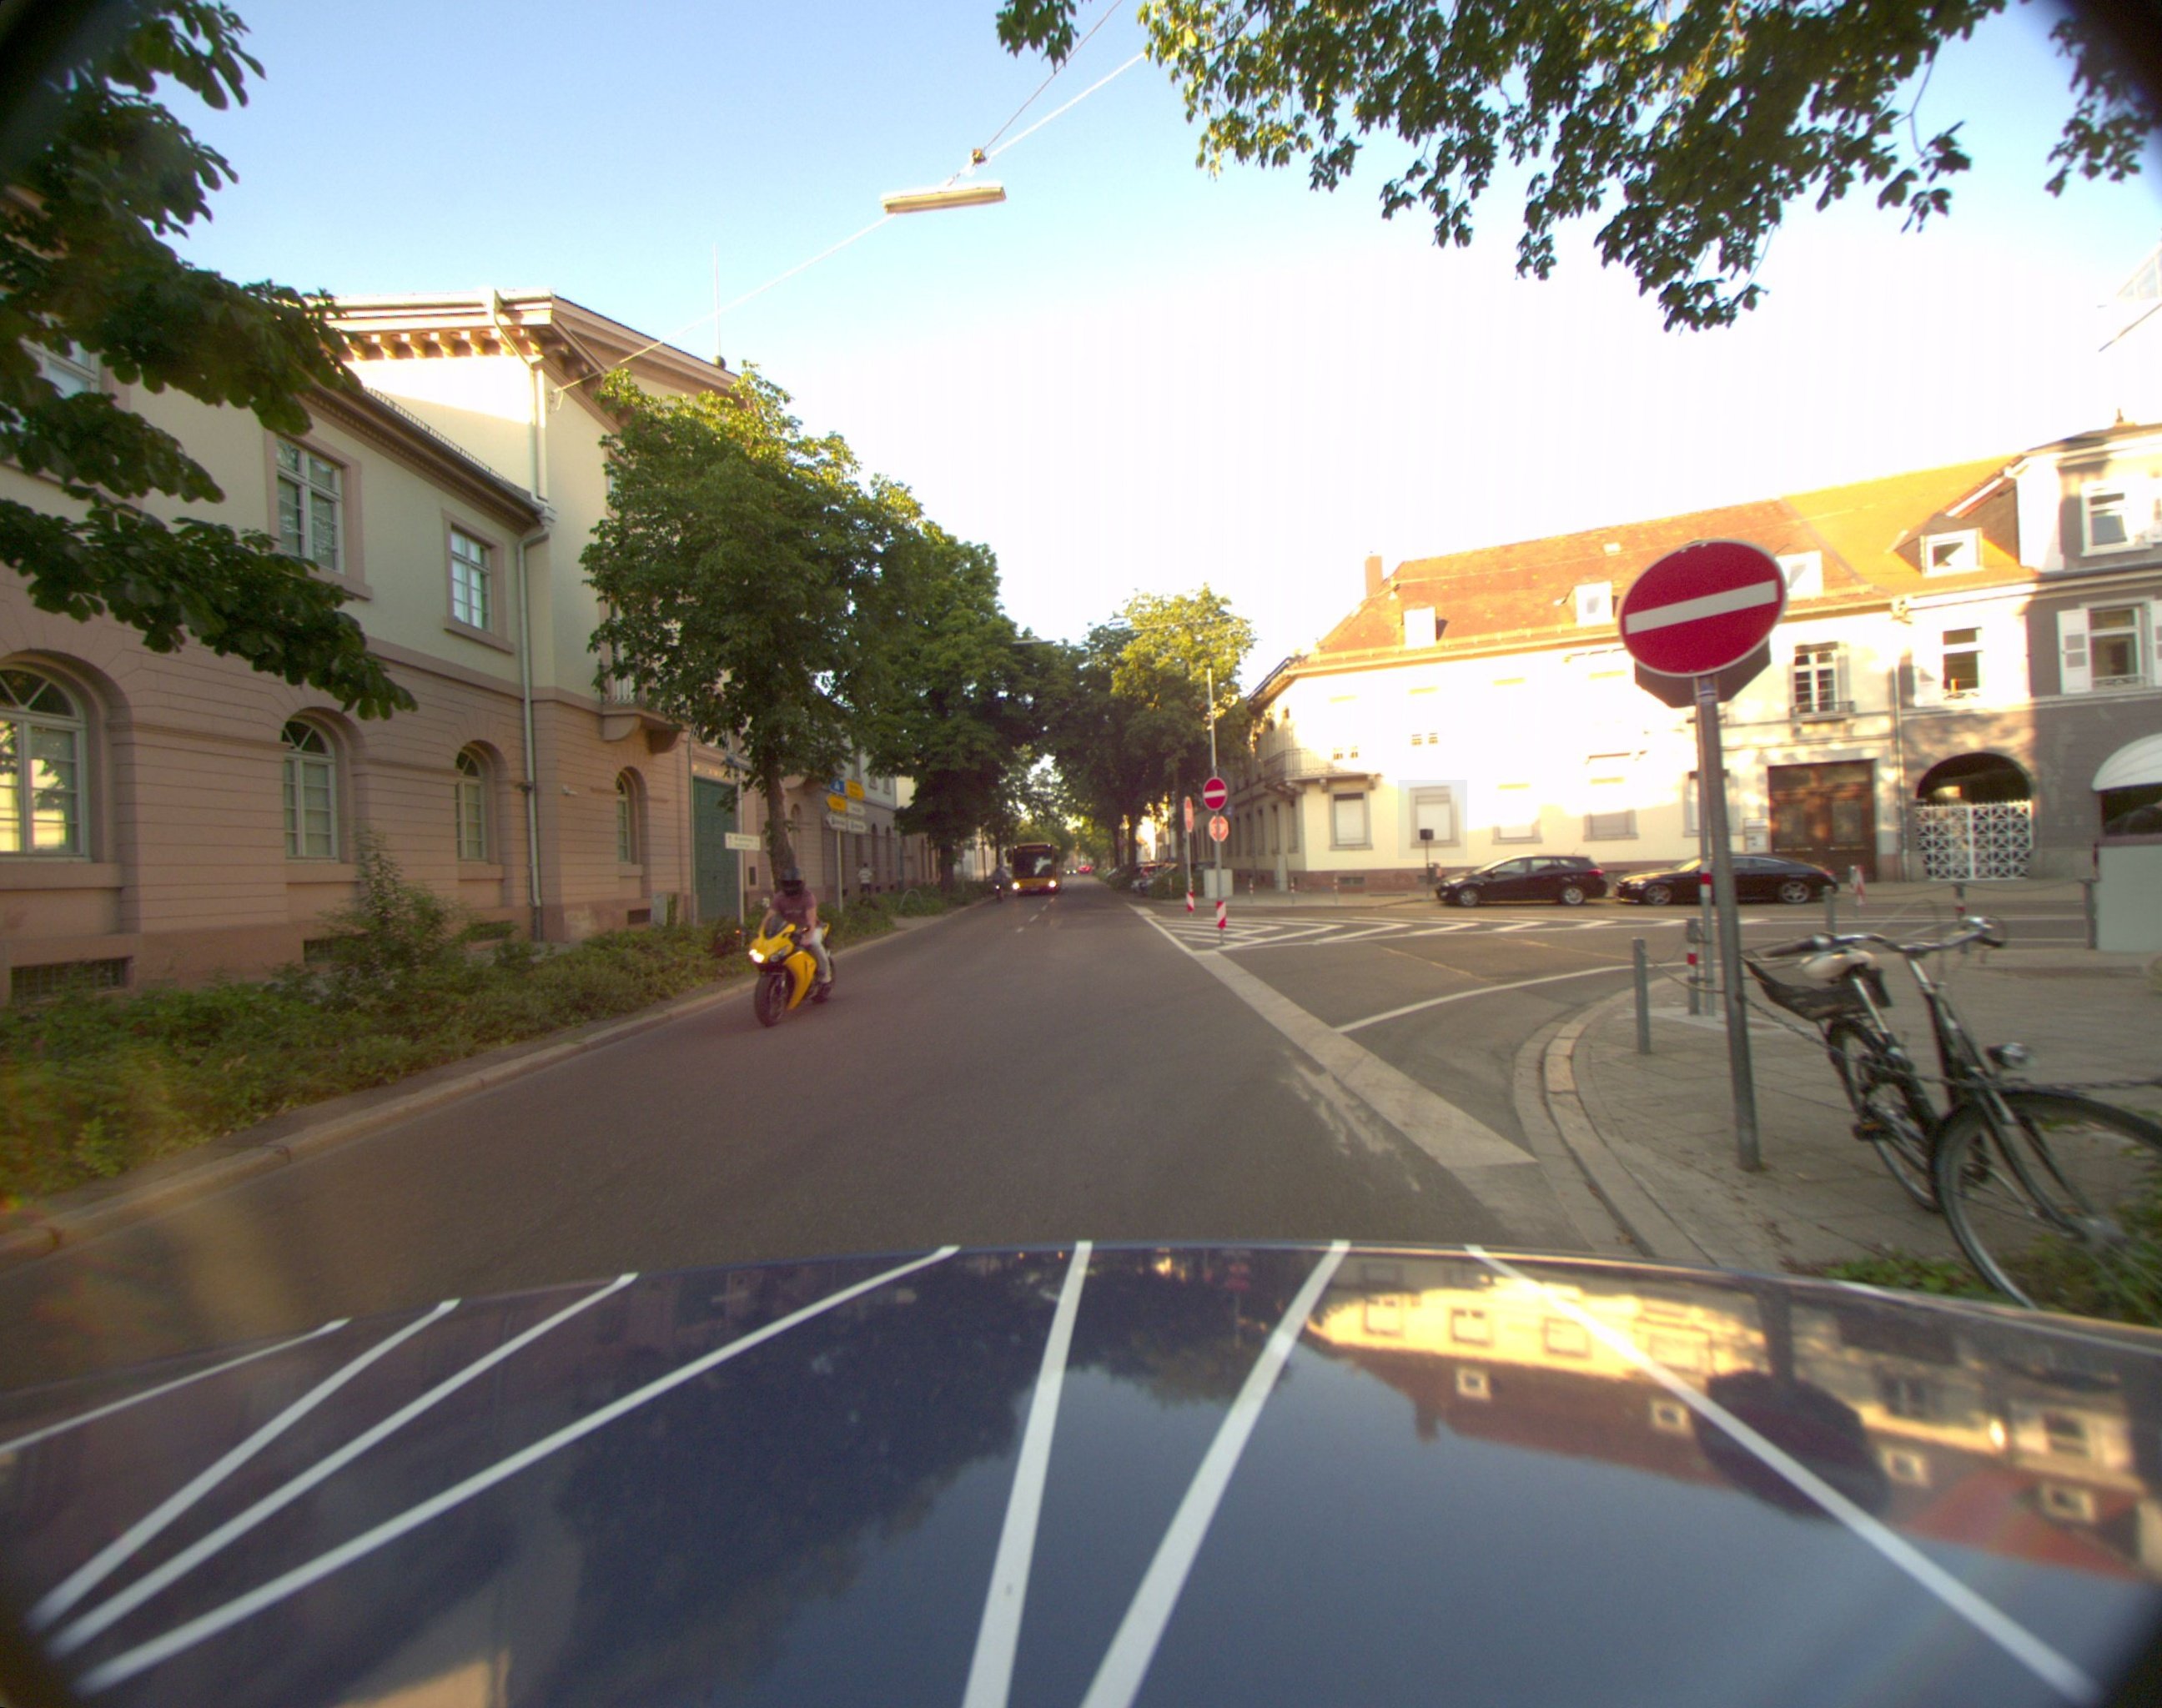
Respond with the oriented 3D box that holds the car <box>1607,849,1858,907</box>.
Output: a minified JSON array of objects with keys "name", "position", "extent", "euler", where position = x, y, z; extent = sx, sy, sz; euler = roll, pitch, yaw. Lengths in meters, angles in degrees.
[{"name":"car","position":[17.390,0.670,20.626],"extent":[4.846,1.386,1.782],"euler":[-2,-1,25]}]

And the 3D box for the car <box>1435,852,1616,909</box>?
[{"name":"car","position":[13.014,0.804,22.589],"extent":[4.420,1.532,1.810],"euler":[-2,-1,23]}]

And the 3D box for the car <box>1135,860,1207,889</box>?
[{"name":"car","position":[5.369,1.220,45.590],"extent":[3.997,1.605,1.723],"euler":[-2,0,-1]}]

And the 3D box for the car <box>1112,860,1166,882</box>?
[{"name":"car","position":[4.542,1.325,59.636],"extent":[3.997,1.605,1.723],"euler":[-2,0,-1]}]

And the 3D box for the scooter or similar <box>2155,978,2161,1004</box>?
[{"name":"scooter or similar","position":[9.043,1.121,5.869],"extent":[0.417,0.206,0.883],"euler":[-3,-2,19]}]

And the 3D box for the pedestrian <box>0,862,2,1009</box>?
[{"name":"pedestrian","position":[-10.785,0.982,6.763],"extent":[0.800,1.828,1.083],"euler":[0,-1,3]}]

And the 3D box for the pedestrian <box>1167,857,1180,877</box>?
[{"name":"pedestrian","position":[8.129,1.152,66.855],"extent":[0.894,1.760,1.021],"euler":[-2,0,-1]}]

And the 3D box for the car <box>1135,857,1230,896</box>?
[{"name":"car","position":[4.591,1.012,34.787],"extent":[3.997,1.605,1.828],"euler":[-2,0,-1]}]

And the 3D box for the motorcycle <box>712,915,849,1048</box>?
[{"name":"motorcycle","position":[-3.345,1.371,8.681],"extent":[0.793,1.153,1.966],"euler":[-3,0,-3]}]

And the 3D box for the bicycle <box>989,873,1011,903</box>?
[{"name":"bicycle","position":[-3.922,1.642,36.947],"extent":[0.783,1.322,2.078],"euler":[-4,0,0]}]

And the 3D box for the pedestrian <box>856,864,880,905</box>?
[{"name":"pedestrian","position":[-9.726,1.373,34.699],"extent":[0.800,1.821,0.929],"euler":[-2,0,-2]}]

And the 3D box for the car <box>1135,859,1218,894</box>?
[{"name":"car","position":[4.939,1.160,39.618],"extent":[3.997,1.605,1.723],"euler":[-2,0,-1]}]

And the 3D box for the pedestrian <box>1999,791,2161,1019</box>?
[{"name":"pedestrian","position":[8.570,0.383,6.050],"extent":[0.851,1.728,1.266],"euler":[-3,-2,-13]}]

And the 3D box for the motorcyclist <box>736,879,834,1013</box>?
[{"name":"motorcyclist","position":[-3.370,1.024,8.715],"extent":[0.793,1.412,0.699],"euler":[-3,0,-3]}]

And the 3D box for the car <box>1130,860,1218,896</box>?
[{"name":"car","position":[4.506,1.163,37.187],"extent":[3.997,1.605,1.723],"euler":[-2,0,-1]}]

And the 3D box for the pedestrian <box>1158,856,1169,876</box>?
[{"name":"pedestrian","position":[7.263,1.064,66.840],"extent":[0.806,1.760,1.021],"euler":[-2,0,-1]}]

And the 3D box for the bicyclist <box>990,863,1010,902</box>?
[{"name":"bicyclist","position":[-3.937,1.395,36.949],"extent":[0.783,1.828,0.826],"euler":[-4,0,0]}]

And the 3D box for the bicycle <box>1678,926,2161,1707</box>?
[{"name":"bicycle","position":[2.449,0.900,1.670],"extent":[0.844,1.259,2.576],"euler":[-2,-1,16]}]

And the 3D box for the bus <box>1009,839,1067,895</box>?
[{"name":"bus","position":[-2.552,0.795,49.174],"extent":[2.711,2.982,12.083],"euler":[-4,-1,1]}]
